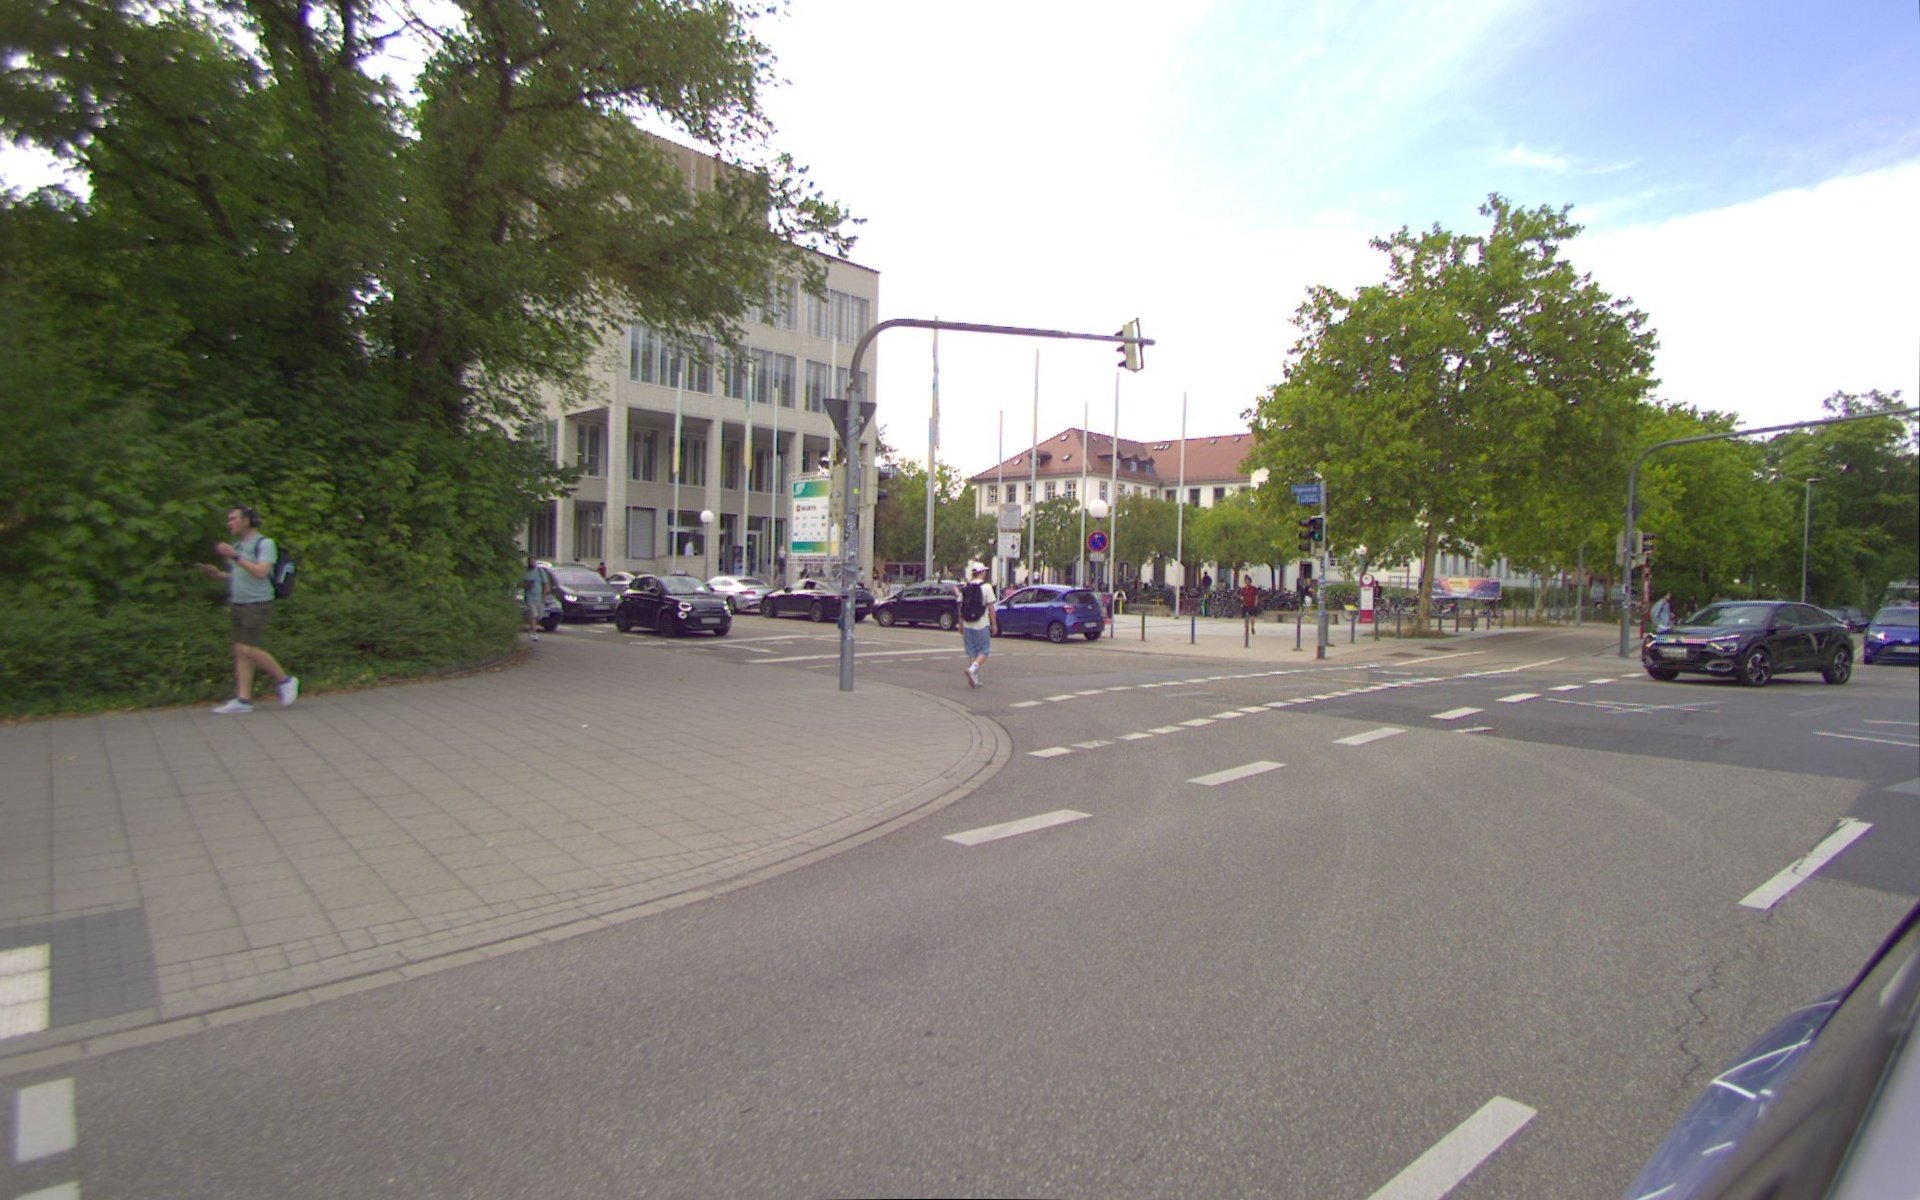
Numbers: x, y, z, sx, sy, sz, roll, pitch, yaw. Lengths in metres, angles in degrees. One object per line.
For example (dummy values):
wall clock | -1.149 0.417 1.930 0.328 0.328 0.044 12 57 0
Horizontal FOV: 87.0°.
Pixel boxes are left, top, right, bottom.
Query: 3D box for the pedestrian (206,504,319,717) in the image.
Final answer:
pedestrian | -6.283 0.077 9.122 0.728 1.818 0.645 0 1 -45

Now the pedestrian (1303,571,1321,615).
pedestrian | 16.262 -0.324 46.751 0.674 1.988 0.602 0 0 5

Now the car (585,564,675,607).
car | -14.305 -0.654 43.764 4.216 1.587 1.785 2 -6 44

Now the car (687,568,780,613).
car | -8.589 -0.400 38.200 3.821 1.586 1.648 2 2 44

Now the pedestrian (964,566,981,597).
pedestrian | 0.678 -0.983 54.435 0.722 1.617 0.595 0 0 32

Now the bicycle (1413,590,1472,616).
bicycle | 23.022 0.146 48.327 0.706 1.156 2.468 0 1 -44

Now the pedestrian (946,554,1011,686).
pedestrian | 0.281 0.279 14.996 0.642 1.876 0.819 0 0 33

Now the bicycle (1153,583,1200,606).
bicycle | 11.502 -0.287 53.949 0.706 1.156 2.468 0 1 -44

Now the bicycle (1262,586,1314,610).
bicycle | 16.842 -0.109 52.000 0.706 1.156 2.468 0 1 -44

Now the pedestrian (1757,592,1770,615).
pedestrian | 55.912 0.250 70.447 0.644 1.585 0.792 2 1 43

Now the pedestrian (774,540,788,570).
pedestrian | -10.644 -2.682 60.261 0.619 1.736 0.673 0 0 -28

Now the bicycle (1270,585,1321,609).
bicycle | 17.404 -0.175 52.567 0.706 1.156 2.468 0 1 -44

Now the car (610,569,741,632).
car | -7.189 -0.040 25.393 1.657 1.460 3.573 -1 2 -45

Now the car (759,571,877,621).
car | -4.897 -0.179 34.565 4.440 1.586 1.648 2 2 44

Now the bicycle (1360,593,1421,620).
bicycle | 19.445 0.278 45.734 0.706 1.156 2.468 0 1 -44

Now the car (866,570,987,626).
car | -1.081 -0.110 31.269 3.684 1.586 1.648 2 2 44

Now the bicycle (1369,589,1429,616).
bicycle | 20.114 0.121 46.414 0.706 1.156 2.468 0 1 -44

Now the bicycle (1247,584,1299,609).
bicycle | 15.719 -0.180 50.868 0.706 1.156 2.468 0 1 -44

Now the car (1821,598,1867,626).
car | 47.055 0.617 53.865 1.699 1.386 3.772 2 1 43

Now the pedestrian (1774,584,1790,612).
pedestrian | 56.661 -0.143 69.774 0.796 1.958 0.748 2 1 44

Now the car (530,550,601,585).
car | -18.672 -1.559 47.847 3.977 1.586 1.648 2 2 44

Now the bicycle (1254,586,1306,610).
bicycle | 16.268 -0.107 51.428 0.706 1.156 2.468 0 1 -44

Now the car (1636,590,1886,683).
car | 14.863 0.610 18.789 4.088 1.576 1.809 0 0 -21

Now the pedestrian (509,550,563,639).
pedestrian | -9.106 -0.124 21.727 0.794 1.874 0.725 1 1 28

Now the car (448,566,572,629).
car | -11.843 -0.088 26.508 4.095 1.497 1.523 2 0 44

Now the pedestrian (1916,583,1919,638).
pedestrian | 33.006 0.359 34.369 0.725 1.876 1.048 2 1 42

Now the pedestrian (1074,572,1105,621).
pedestrian | 4.638 -0.127 36.337 0.687 1.730 0.956 0 0 -27

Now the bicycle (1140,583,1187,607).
bicycle | 10.675 -0.278 53.110 0.706 1.156 2.468 0 1 -44

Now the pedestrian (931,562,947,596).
pedestrian | -1.148 -1.130 55.528 0.721 1.867 0.596 0 0 30

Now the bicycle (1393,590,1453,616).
bicycle | 21.628 0.125 47.351 0.706 1.156 2.468 0 1 -44

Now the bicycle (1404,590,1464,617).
bicycle | 22.387 0.152 47.824 0.706 1.156 2.468 0 1 -44

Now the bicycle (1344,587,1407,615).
bicycle | 18.347 0.039 44.743 0.706 1.156 2.468 0 1 -44

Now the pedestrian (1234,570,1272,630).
pedestrian | 9.073 0.007 31.324 0.876 1.827 0.768 0 0 -41

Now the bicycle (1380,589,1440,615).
bicycle | 20.853 0.073 46.947 0.706 1.156 2.468 0 1 -44

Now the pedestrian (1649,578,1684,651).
pedestrian | 18.108 0.358 25.943 0.670 1.839 0.574 0 1 -43

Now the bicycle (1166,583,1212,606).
bicycle | 12.406 -0.297 54.885 0.706 1.156 2.468 0 1 -44

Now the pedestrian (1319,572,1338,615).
pedestrian | 16.984 -0.290 46.683 0.674 1.988 0.602 0 0 5

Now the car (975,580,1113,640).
car | 2.262 0.216 27.839 3.572 1.510 1.648 2 2 44

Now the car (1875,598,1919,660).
car | 24.921 0.720 26.212 1.699 1.512 3.772 2 1 43

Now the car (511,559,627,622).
car | -11.642 -0.333 30.002 1.657 1.713 4.284 -1 2 -45

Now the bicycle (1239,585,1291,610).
bicycle | 15.141 -0.132 50.289 0.706 1.156 2.468 0 1 -44
